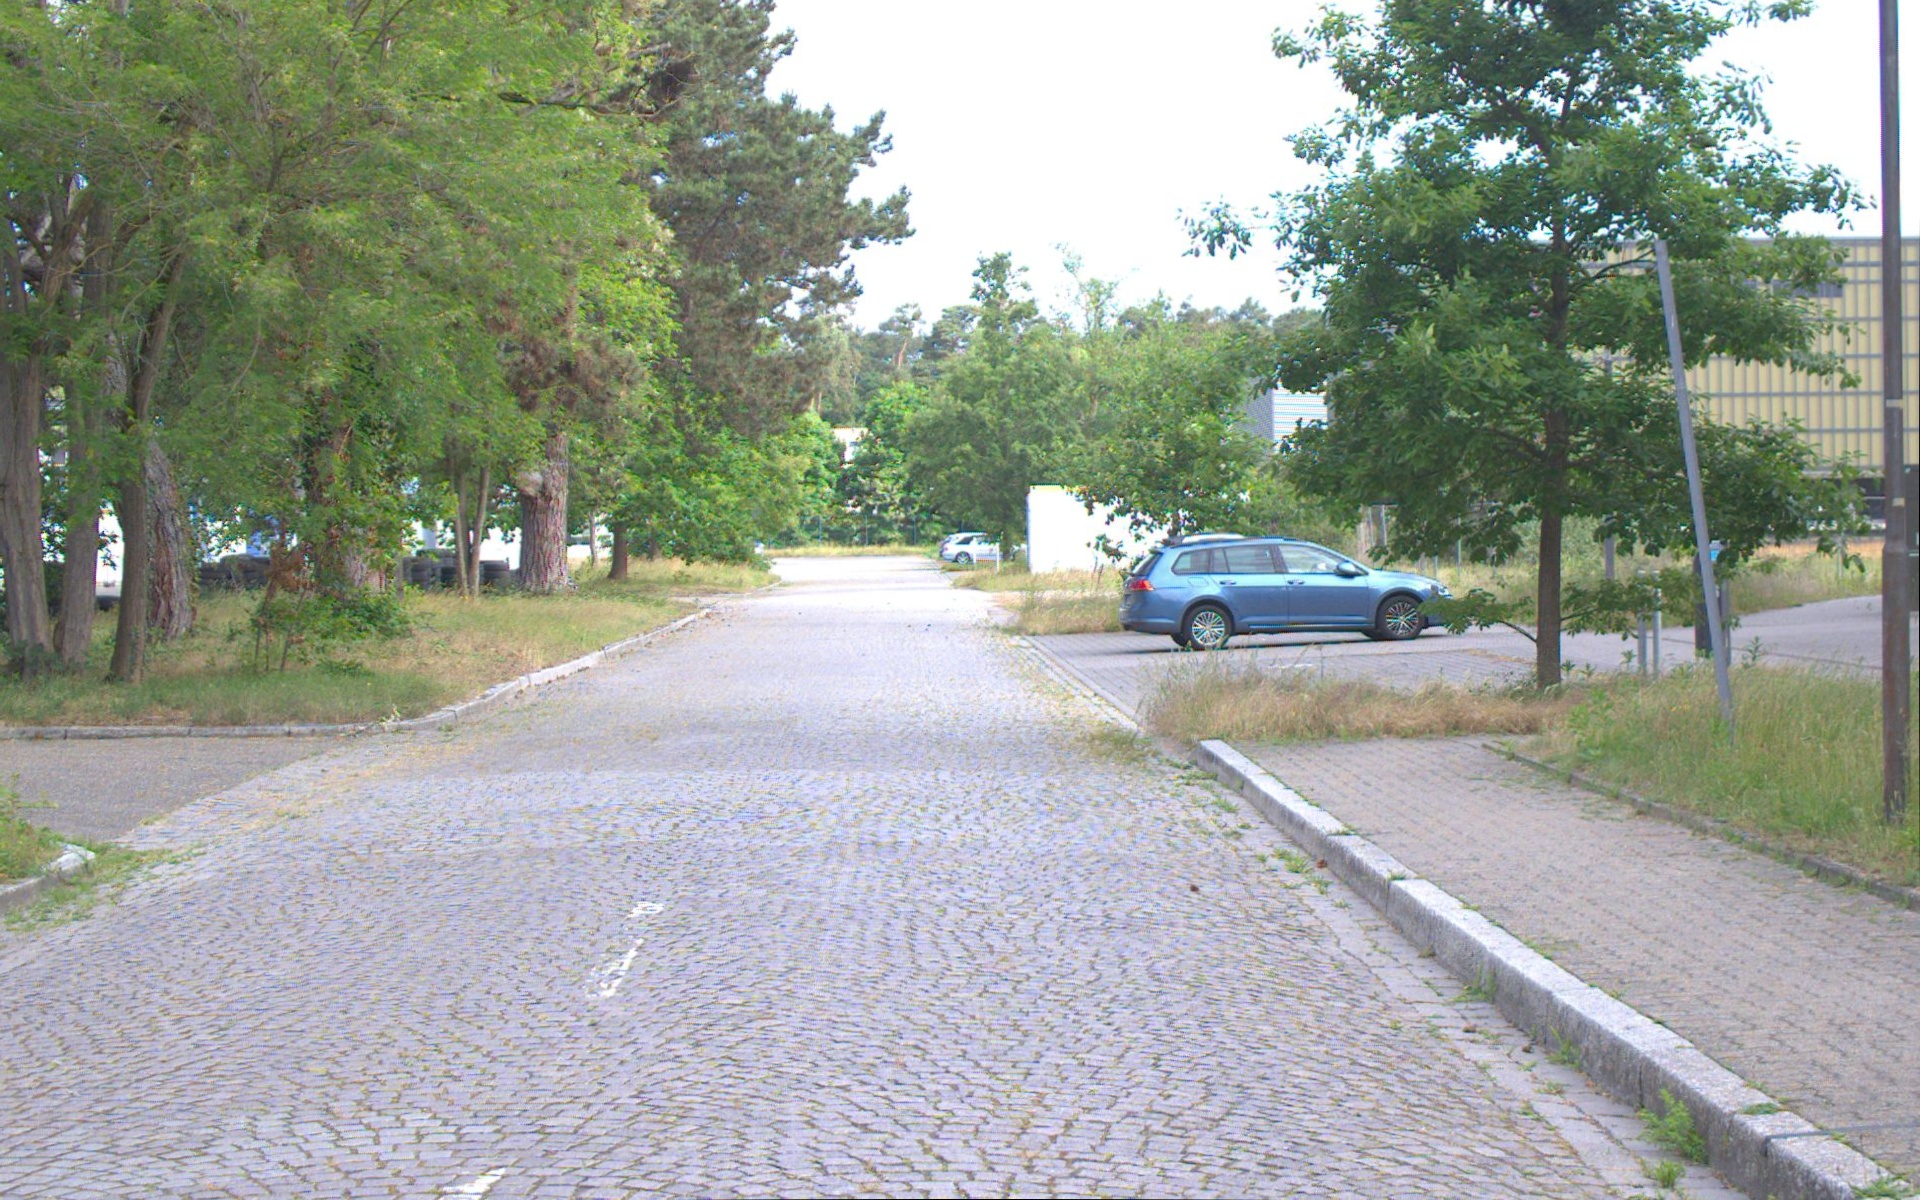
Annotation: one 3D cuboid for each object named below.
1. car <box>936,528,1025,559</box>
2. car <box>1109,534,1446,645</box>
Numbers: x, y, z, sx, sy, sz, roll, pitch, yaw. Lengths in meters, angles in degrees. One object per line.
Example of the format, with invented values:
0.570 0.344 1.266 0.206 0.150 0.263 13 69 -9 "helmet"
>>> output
0.962 -2.714 164.120 3.986 1.393 2.001 -1 1 -7 "car"
4.303 -0.158 47.091 4.343 1.417 2.000 -1 1 -3 "car"
